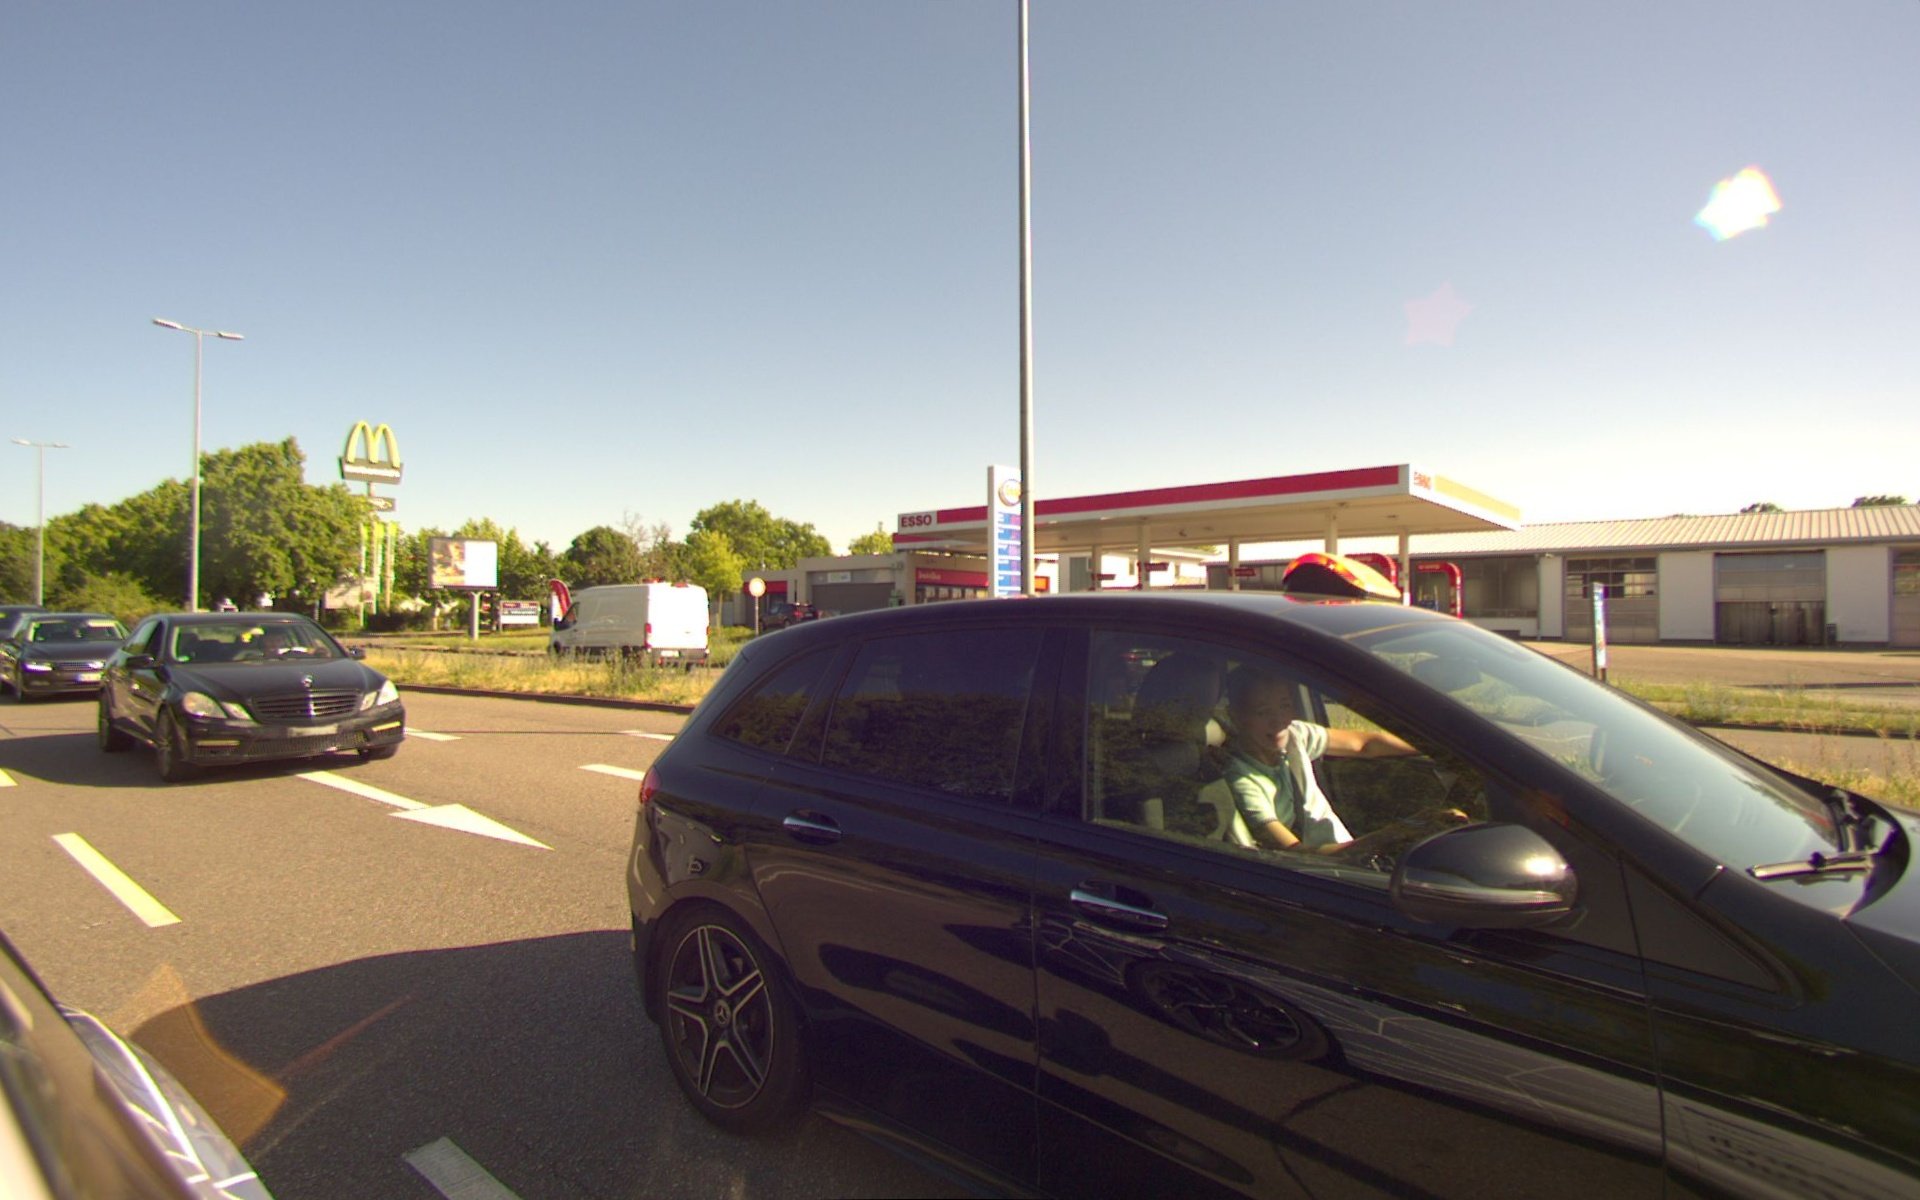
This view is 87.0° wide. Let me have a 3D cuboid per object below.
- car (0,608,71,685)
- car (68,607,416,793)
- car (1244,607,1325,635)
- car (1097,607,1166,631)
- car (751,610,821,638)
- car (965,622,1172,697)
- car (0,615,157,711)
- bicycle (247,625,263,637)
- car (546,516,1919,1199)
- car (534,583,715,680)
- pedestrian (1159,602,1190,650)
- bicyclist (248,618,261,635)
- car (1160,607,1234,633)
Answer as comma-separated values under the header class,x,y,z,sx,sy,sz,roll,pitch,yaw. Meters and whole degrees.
class,x,y,z,sx,sy,sz,roll,pitch,yaw
car,-21.711,1.013,23.035,3.876,1.629,1.653,-1,0,40
car,-7.392,0.819,10.244,4.400,1.449,1.845,0,0,40
car,18.047,1.167,56.379,3.975,1.420,1.661,0,-3,40
car,10.643,1.186,62.916,3.975,1.420,1.661,0,-3,40
car,-9.747,1.330,56.488,3.975,1.420,1.661,0,-3,40
car,2.391,1.324,23.016,4.476,1.502,1.740,-1,-4,41
car,-15.728,1.012,17.747,4.284,1.438,1.775,-1,0,40
bicycle,-53.401,2.352,76.611,1.741,0.874,0.621,0,0,42
car,0.919,0.664,2.470,4.400,1.502,1.741,0,-1,40
car,-9.580,0.870,28.606,5.817,2.466,2.002,0,-4,40
pedestrian,8.040,0.967,37.954,0.903,1.763,0.781,0,0,39
bicyclist,-53.435,1.991,76.657,0.700,1.298,0.621,0,0,42
car,14.042,1.176,60.118,3.975,1.420,1.661,0,-3,40
